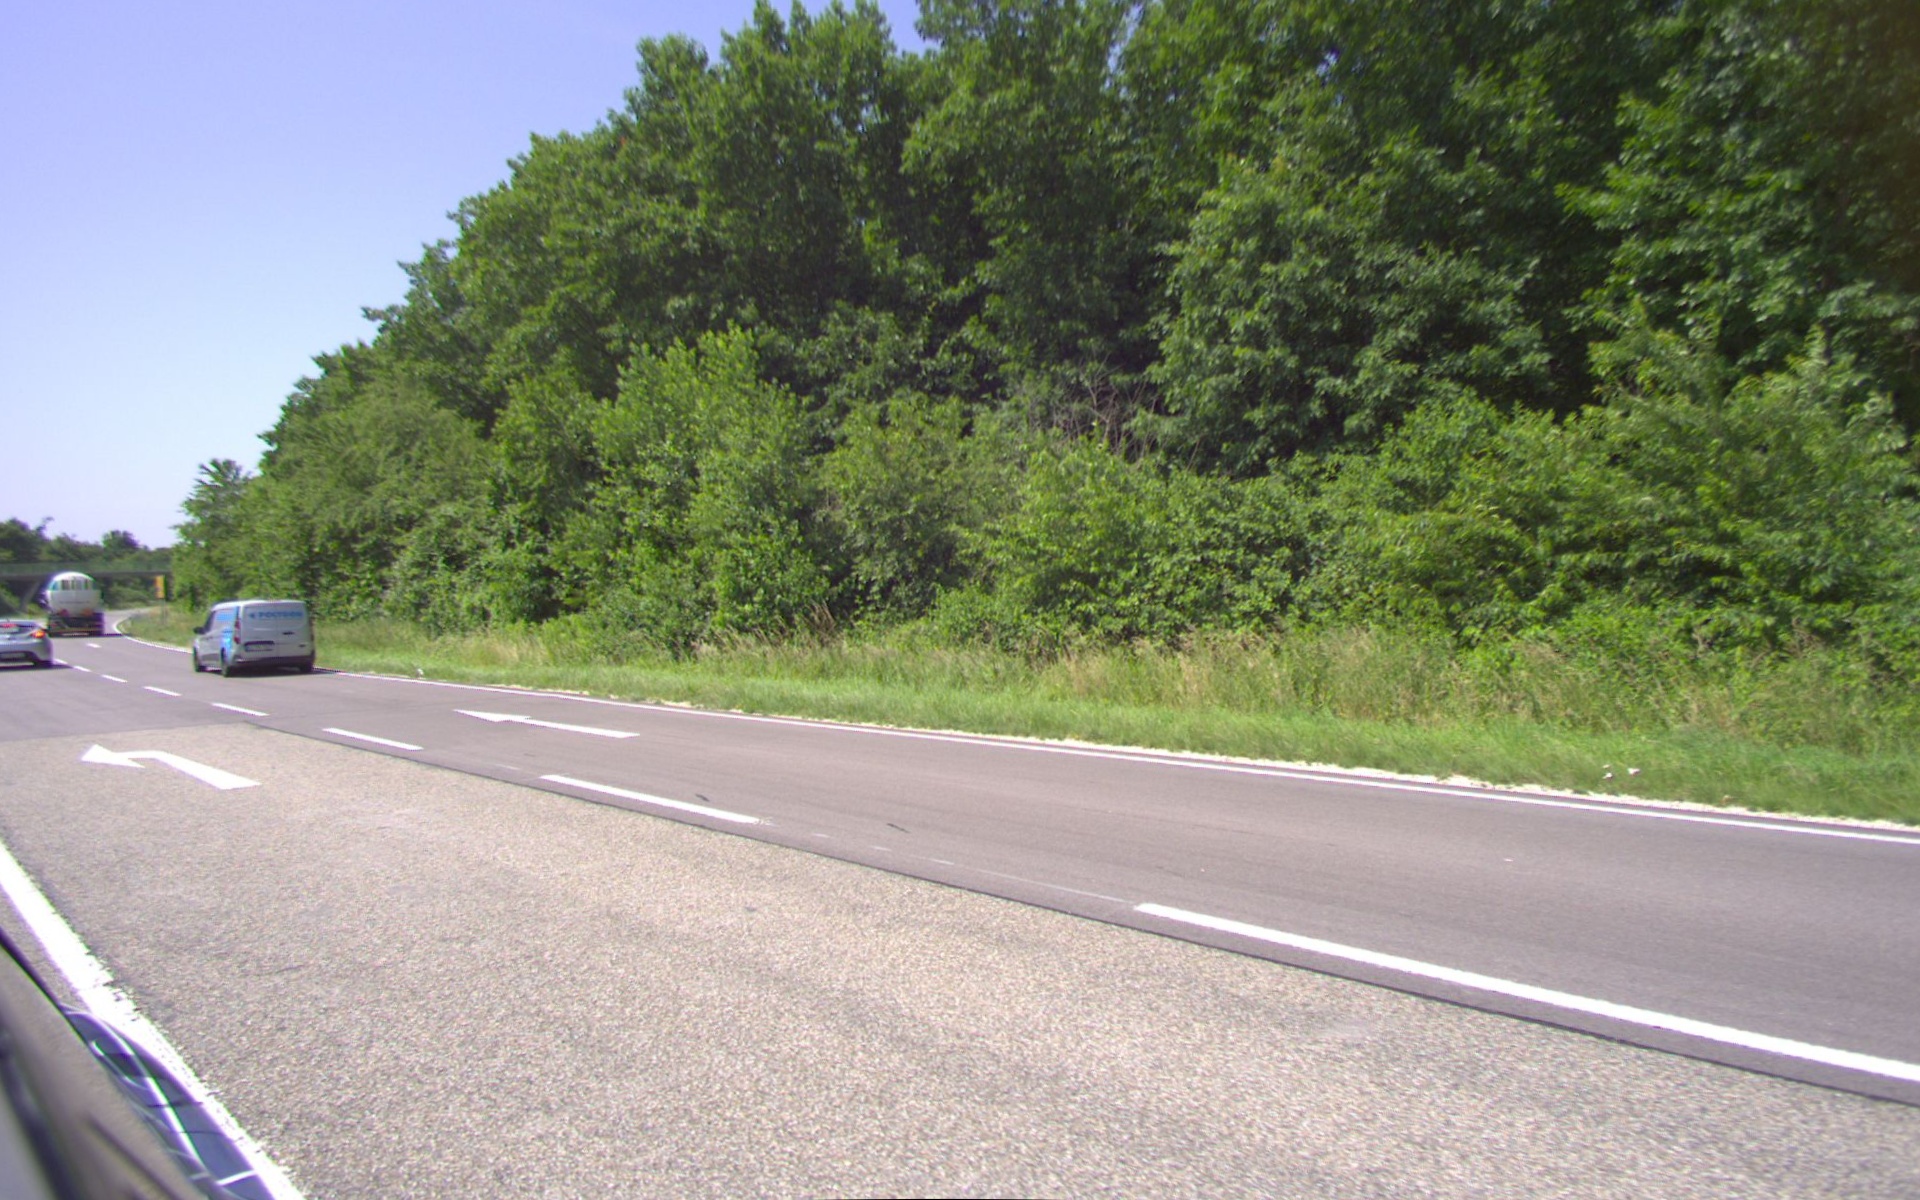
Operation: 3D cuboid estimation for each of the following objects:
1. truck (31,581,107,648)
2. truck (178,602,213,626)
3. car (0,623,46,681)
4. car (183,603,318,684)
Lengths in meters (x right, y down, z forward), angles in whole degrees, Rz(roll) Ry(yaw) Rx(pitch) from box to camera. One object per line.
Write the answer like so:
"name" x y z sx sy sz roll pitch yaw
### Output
"truck" -52.597 0.829 59.650 8.798 3.698 2.598 -1 0 44
"truck" -138.840 2.410 183.974 2.758 4.126 11.099 -1 0 -25
"car" -27.220 1.436 28.450 4.095 1.430 1.691 0 1 40
"car" -17.738 1.026 25.199 4.894 1.792 1.822 -1 0 44
